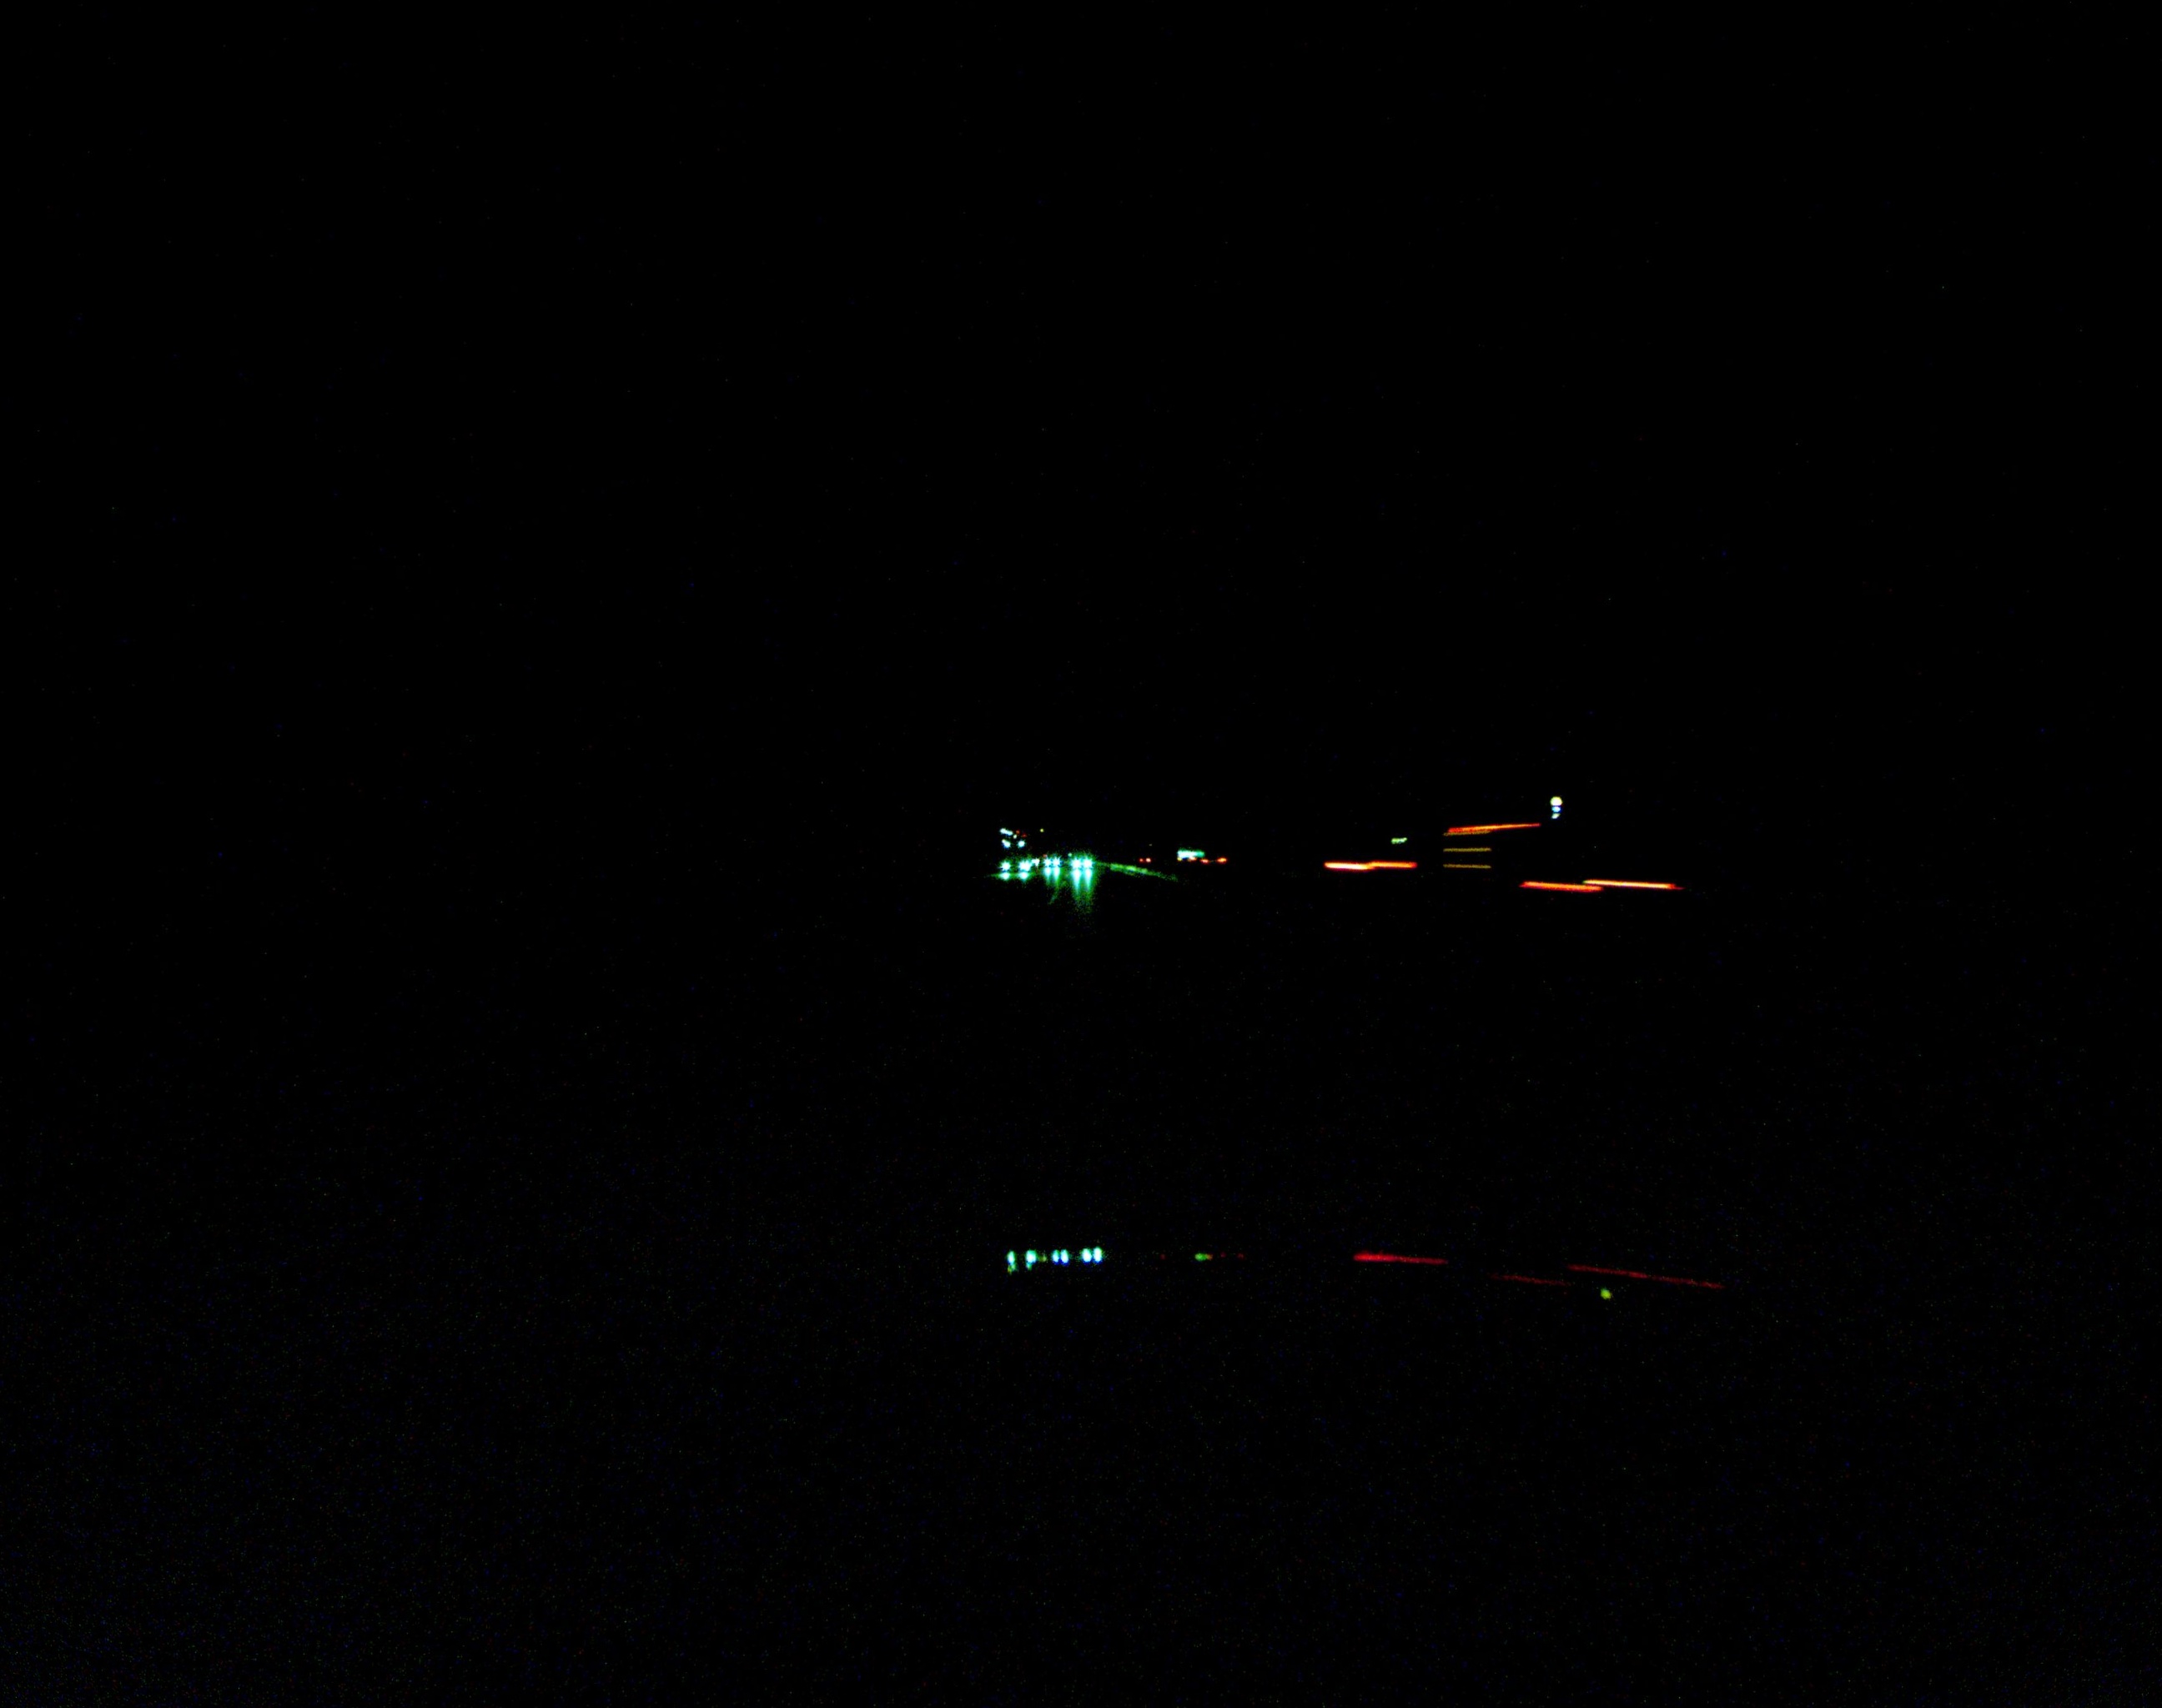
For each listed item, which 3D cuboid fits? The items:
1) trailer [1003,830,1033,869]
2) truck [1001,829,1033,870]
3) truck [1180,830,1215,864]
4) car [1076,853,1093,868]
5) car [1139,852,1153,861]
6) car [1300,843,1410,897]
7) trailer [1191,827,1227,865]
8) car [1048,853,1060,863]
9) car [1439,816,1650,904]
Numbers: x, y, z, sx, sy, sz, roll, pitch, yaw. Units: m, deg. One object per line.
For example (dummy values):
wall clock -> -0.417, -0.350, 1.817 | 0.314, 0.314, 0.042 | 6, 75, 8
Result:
trailer -> -7.861, -0.576, 96.368 | 3.347, 4.407, 13.571 | -2, 0, -3
truck -> -7.437, -0.538, 89.133 | 3.347, 4.408, 6.991 | -2, 1, -3
truck -> 16.019, -0.969, 105.284 | 3.058, 4.412, 10.422 | -2, 0, 0
car -> 0.467, 0.754, 92.873 | 2.012, 1.652, 4.000 | -1, 0, 1
car -> 11.327, 0.431, 132.613 | 1.773, 1.376, 4.390 | -2, 0, -1
car -> 9.026, 0.480, 25.536 | 2.071, 1.613, 4.696 | -2, 0, 1
trailer -> 16.023, -0.973, 95.767 | 3.058, 4.412, 8.600 | -2, 0, 0
car -> -4.607, 0.624, 131.851 | 1.939, 1.608, 3.999 | -1, 0, -1
car -> 13.328, 0.144, 22.641 | 2.057, 2.185, 6.966 | -2, 0, 0
